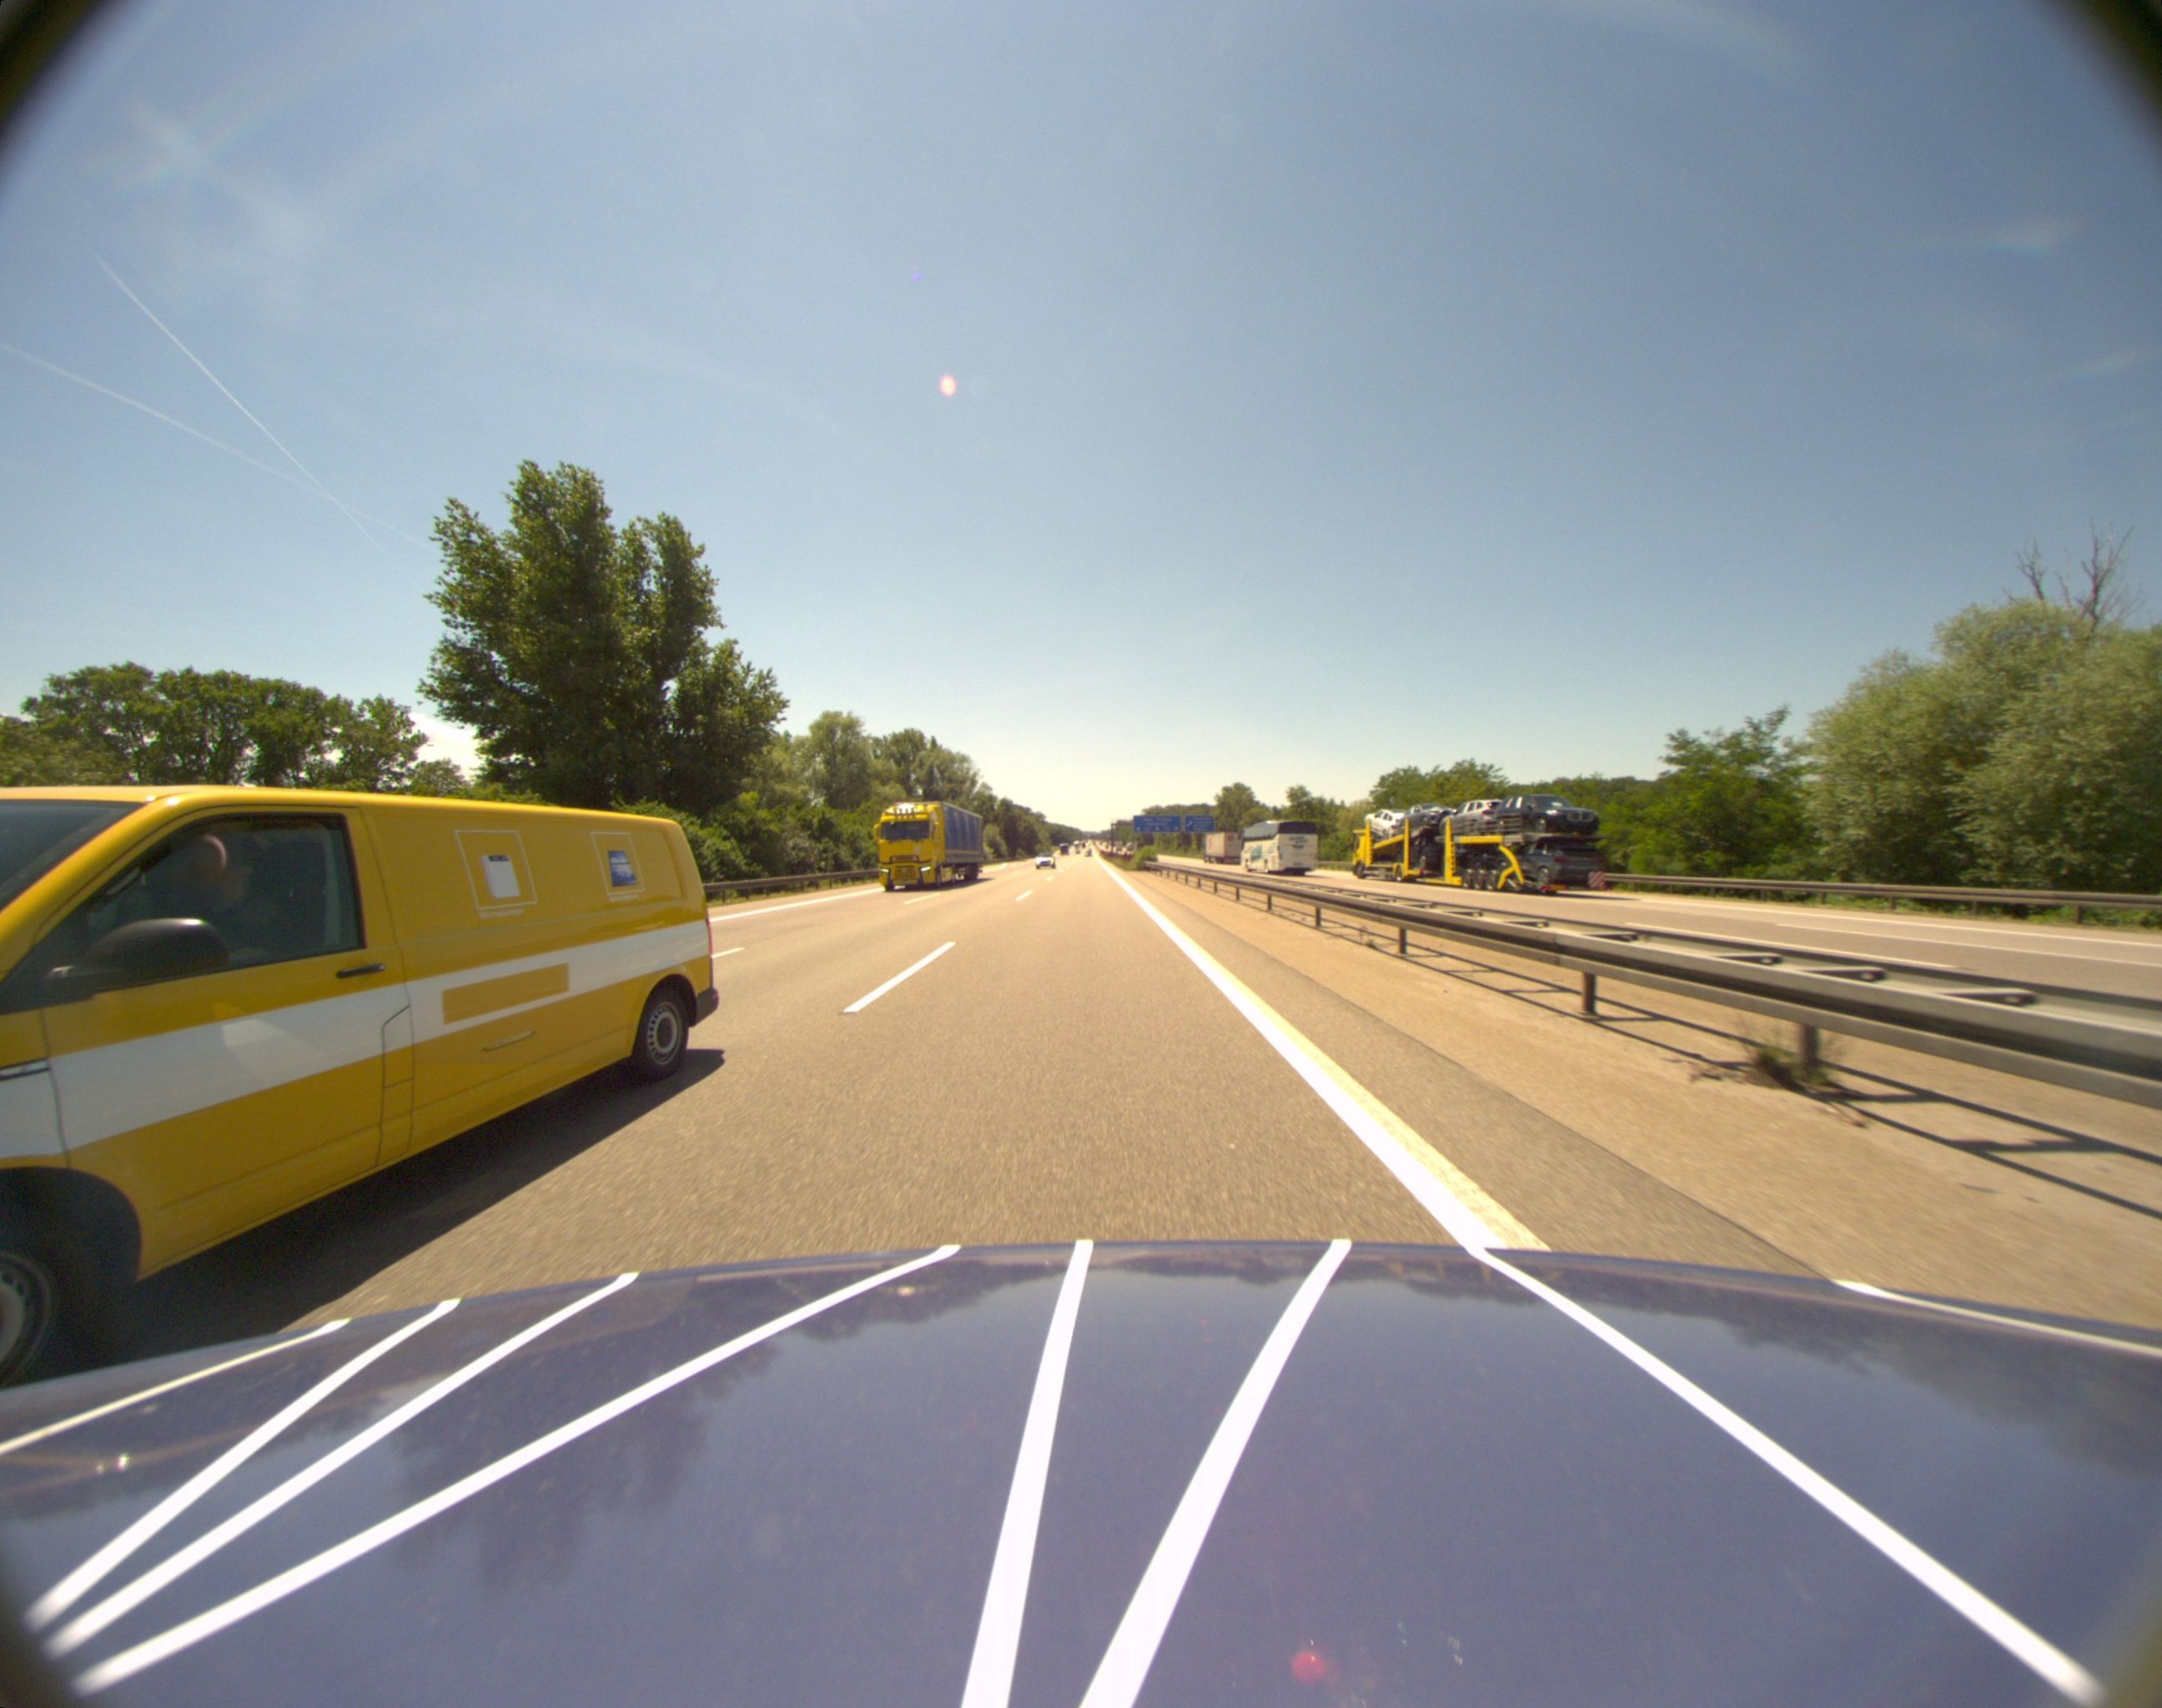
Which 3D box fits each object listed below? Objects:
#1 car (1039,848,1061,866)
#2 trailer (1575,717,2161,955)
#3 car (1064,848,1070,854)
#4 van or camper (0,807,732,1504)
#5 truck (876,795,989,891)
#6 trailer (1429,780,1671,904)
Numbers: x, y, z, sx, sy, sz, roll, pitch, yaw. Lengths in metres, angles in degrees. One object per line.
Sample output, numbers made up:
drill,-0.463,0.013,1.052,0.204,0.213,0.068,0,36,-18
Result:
car,-3.043,0.251,74.619,1.845,1.565,3.999,-2,1,1
trailer,17.299,-0.347,18.503,2.928,3.945,11.649,1,1,1
car,-4.414,-0.887,240.665,1.999,2.002,3.999,0,1,-1
van or camper,-3.956,0.838,3.826,1.998,1.898,4.970,-2,1,0
truck,-7.658,-0.651,42.315,2.852,4.233,16.787,-1,1,0
trailer,17.497,-0.445,29.689,2.928,3.945,10.535,1,1,1
